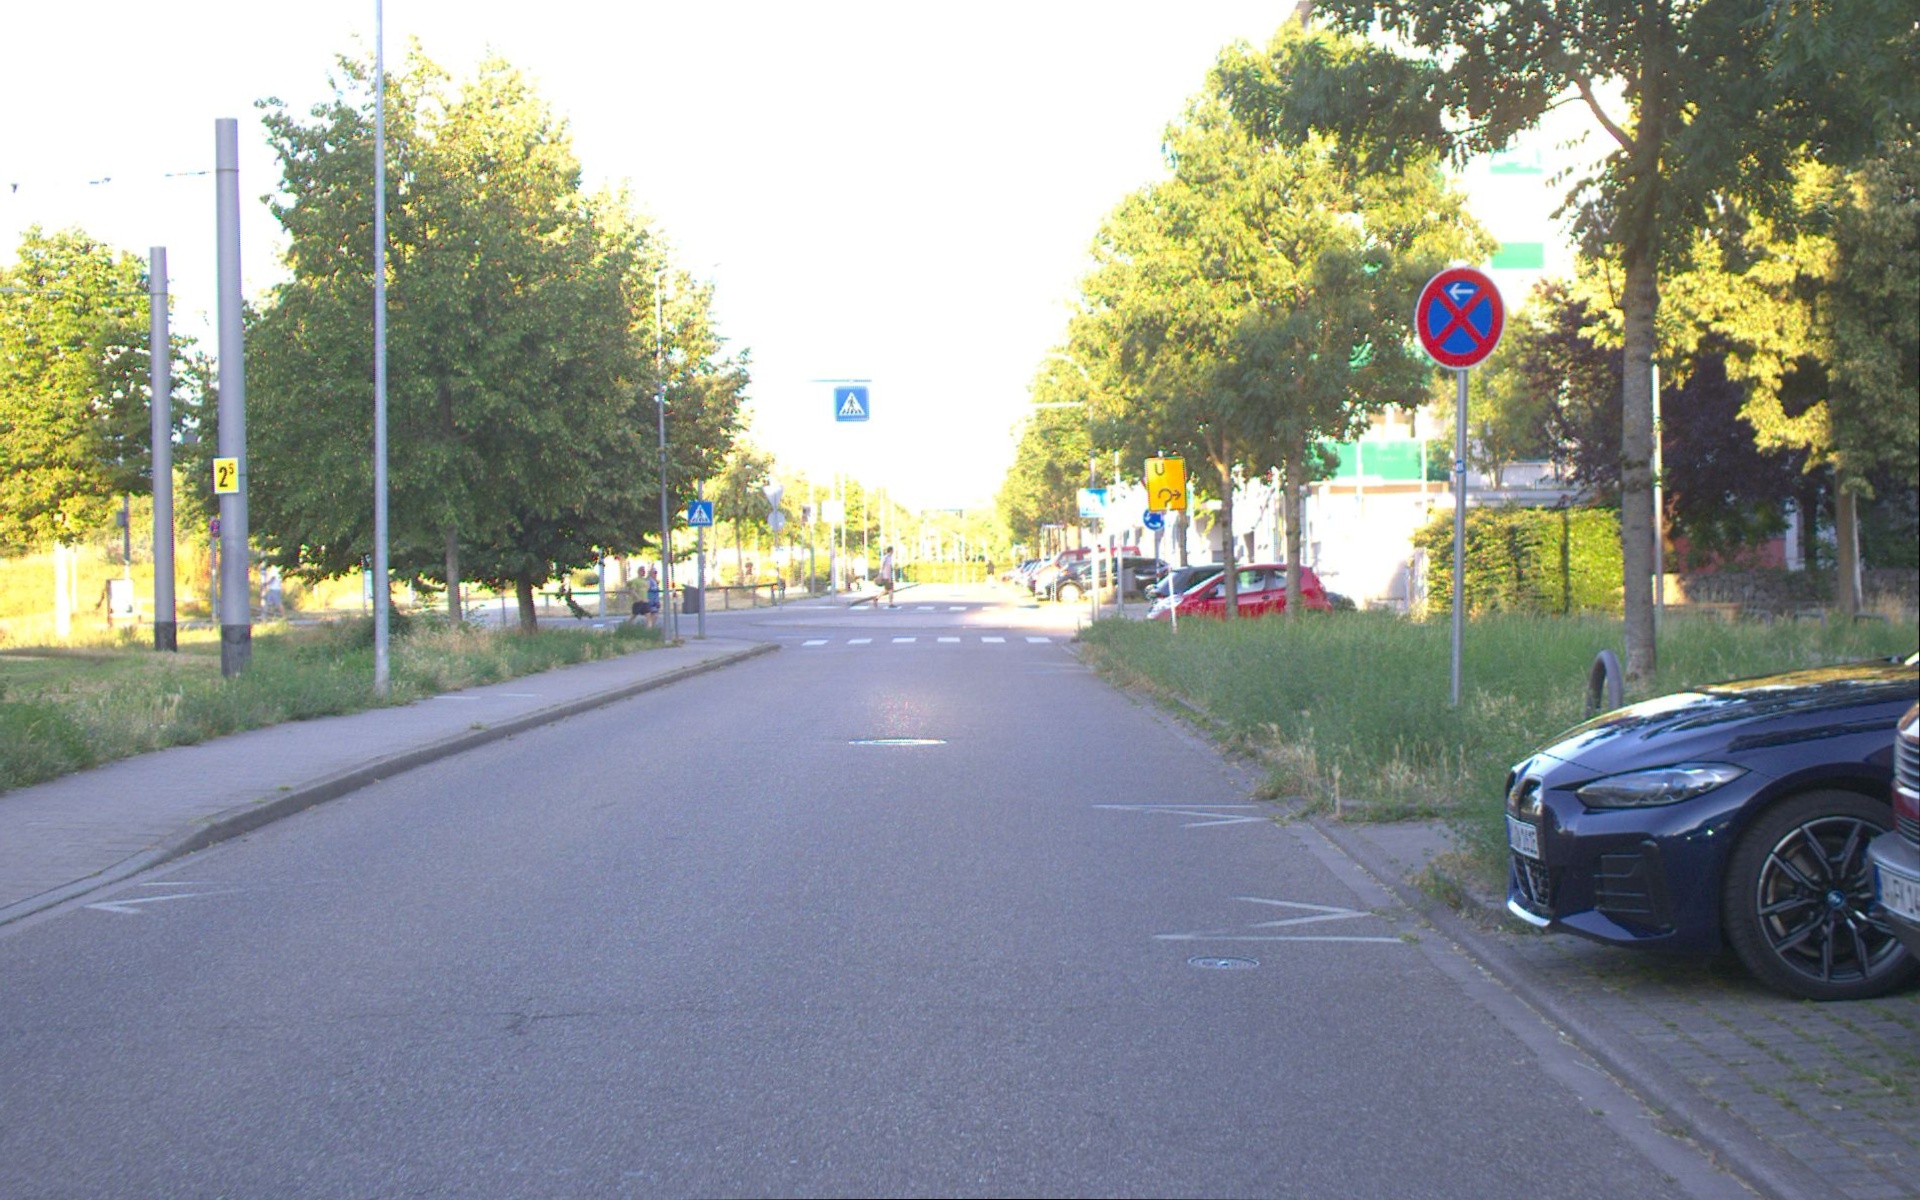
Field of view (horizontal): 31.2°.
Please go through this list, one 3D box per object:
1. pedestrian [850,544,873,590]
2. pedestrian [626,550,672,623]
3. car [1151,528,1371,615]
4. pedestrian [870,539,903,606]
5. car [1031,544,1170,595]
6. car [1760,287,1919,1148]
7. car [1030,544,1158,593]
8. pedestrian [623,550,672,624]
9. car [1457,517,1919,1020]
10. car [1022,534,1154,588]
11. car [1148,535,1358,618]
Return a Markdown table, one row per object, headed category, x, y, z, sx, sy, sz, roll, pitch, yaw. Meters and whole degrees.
| category | x | y | z | sx | sy | sz | roll | pitch | yaw |
| --- | --- | --- | --- | --- | --- | --- | --- | --- | --- |
| pedestrian | -4.301 | -1.435 | 149.859 | 0.866 | 2.007 | 0.790 | -1 | 1 | -10 |
| pedestrian | -7.245 | -0.321 | 80.075 | 0.983 | 1.687 | 0.700 | -1 | 1 | -11 |
| car | 5.467 | -0.529 | 62.673 | 3.802 | 1.503 | 1.679 | -1 | 1 | -1 |
| pedestrian | -2.240 | -0.848 | 104.869 | 0.846 | 2.007 | 0.943 | -1 | 1 | 6 |
| car | 4.605 | -1.007 | 113.072 | 4.484 | 1.590 | 2.000 | -1 | 1 | 2 |
| car | 4.827 | 0.248 | 9.168 | 4.920 | 2.110 | 2.017 | -1 | 1 | 2 |
| car | 4.603 | -1.079 | 118.312 | 4.355 | 1.590 | 2.000 | -1 | 1 | 2 |
| pedestrian | -7.206 | -0.302 | 79.323 | 1.018 | 1.687 | 0.760 | -1 | 1 | -11 |
| car | 4.139 | 0.489 | 11.580 | 4.669 | 1.551 | 1.811 | -1 | 1 | 1 |
| car | 5.064 | -1.549 | 136.322 | 5.002 | 2.038 | 2.250 | -1 | 1 | -4 |
| car | 5.557 | -0.449 | 65.473 | 3.802 | 1.503 | 1.679 | -1 | 1 | -1 |
